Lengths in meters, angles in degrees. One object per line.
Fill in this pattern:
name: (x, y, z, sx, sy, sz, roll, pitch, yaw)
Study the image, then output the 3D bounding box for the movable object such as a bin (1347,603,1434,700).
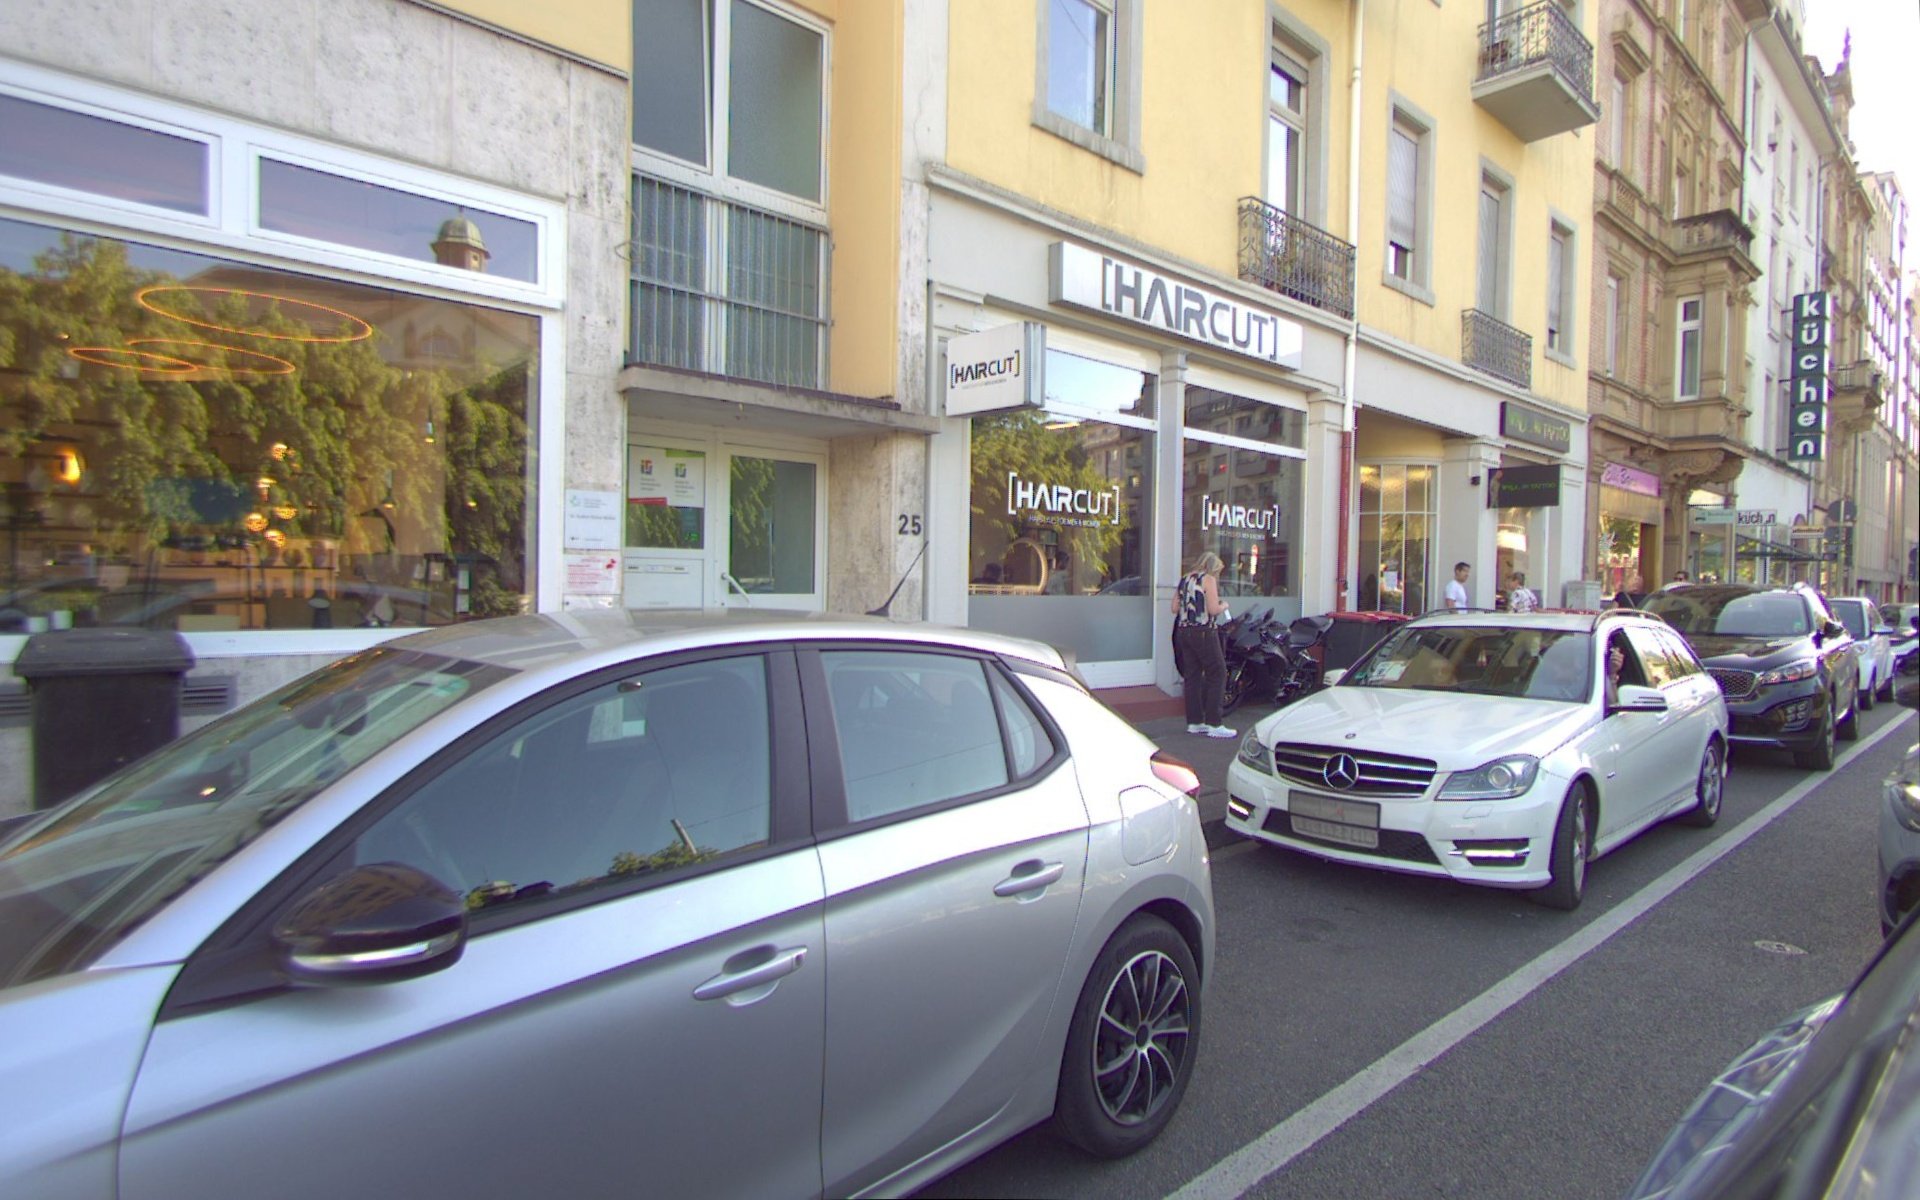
movable object such as a bin: (5.035, 0.583, 11.852, 0.608, 1.037, 0.669, 1, 3, -38)

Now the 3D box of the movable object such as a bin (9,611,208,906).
movable object such as a bin: (-3.660, 0.619, 4.368, 0.609, 1.080, 0.704, 0, 4, -41)

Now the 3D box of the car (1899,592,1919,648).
car: (26.413, 0.525, 26.909, 3.736, 1.435, 1.736, 0, 1, -41)

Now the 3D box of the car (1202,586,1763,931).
car: (3.556, 0.659, 6.453, 4.387, 1.465, 1.741, 0, 1, -42)

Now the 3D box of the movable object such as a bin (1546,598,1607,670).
movable object such as a bin: (9.770, 0.527, 16.048, 0.608, 1.079, 0.606, 0, 4, -41)

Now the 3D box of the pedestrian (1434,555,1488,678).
pedestrian: (6.961, 0.220, 14.059, 0.513, 1.681, 0.339, 1, 1, -16)

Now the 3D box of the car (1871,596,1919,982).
car: (5.779, 0.727, 4.682, 4.297, 1.467, 1.846, 0, 1, -41)

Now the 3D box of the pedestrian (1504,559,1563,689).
pedestrian: (7.665, 0.309, 13.538, 0.587, 1.681, 0.447, 2, 2, 26)

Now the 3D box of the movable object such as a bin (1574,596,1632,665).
movable object such as a bin: (10.730, 0.492, 16.900, 0.608, 1.079, 0.606, 0, 4, -41)

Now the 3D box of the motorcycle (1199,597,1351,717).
motorcycle: (3.290, 0.537, 10.464, 1.975, 1.105, 0.551, 0, 3, -42)

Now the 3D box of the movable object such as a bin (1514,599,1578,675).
movable object such as a bin: (8.823, 0.538, 15.248, 0.608, 1.079, 0.606, 0, 4, -41)

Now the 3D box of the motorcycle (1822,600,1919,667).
motorcycle: (18.954, 0.665, 20.486, 2.137, 1.295, 0.866, 1, 0, 8)

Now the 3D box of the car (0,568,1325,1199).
car: (-0.886, 0.667, 2.424, 4.008, 1.445, 1.672, 0, 1, -43)

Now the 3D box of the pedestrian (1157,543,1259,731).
pedestrian: (2.275, 0.311, 9.306, 0.523, 1.653, 0.697, 0, 2, -43)

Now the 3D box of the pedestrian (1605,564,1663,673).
pedestrian: (10.515, 0.274, 15.792, 0.454, 1.653, 0.619, 0, 0, -35)

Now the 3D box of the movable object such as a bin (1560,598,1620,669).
movable object such as a bin: (10.240, 0.534, 16.455, 0.608, 1.079, 0.606, 0, 4, -41)

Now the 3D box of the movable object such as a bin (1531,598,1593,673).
movable object such as a bin: (9.312, 0.533, 15.654, 0.608, 1.079, 0.606, 0, 4, -41)

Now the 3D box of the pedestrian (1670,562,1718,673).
pedestrian: (11.219, 0.257, 15.466, 0.407, 1.653, 0.514, 0, 0, -41)

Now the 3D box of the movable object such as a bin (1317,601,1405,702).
movable object such as a bin: (4.538, 0.557, 11.459, 0.608, 1.054, 0.661, 1, 3, -38)

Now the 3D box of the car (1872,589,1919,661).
car: (22.214, 0.532, 23.115, 4.096, 1.537, 1.734, 0, 1, -44)

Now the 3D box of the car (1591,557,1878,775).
car: (8.093, 0.507, 10.399, 4.498, 1.758, 1.756, 0, 1, -45)

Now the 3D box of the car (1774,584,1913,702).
car: (12.890, 0.552, 14.726, 2.748, 1.537, 1.273, 0, 1, -44)

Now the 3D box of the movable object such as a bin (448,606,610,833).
movable object such as a bin: (-2.354, 0.602, 5.507, 0.609, 1.080, 0.704, 0, 4, -41)

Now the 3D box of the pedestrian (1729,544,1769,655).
pedestrian: (13.013, -0.010, 16.690, 0.473, 1.785, 0.434, 0, 0, -41)
